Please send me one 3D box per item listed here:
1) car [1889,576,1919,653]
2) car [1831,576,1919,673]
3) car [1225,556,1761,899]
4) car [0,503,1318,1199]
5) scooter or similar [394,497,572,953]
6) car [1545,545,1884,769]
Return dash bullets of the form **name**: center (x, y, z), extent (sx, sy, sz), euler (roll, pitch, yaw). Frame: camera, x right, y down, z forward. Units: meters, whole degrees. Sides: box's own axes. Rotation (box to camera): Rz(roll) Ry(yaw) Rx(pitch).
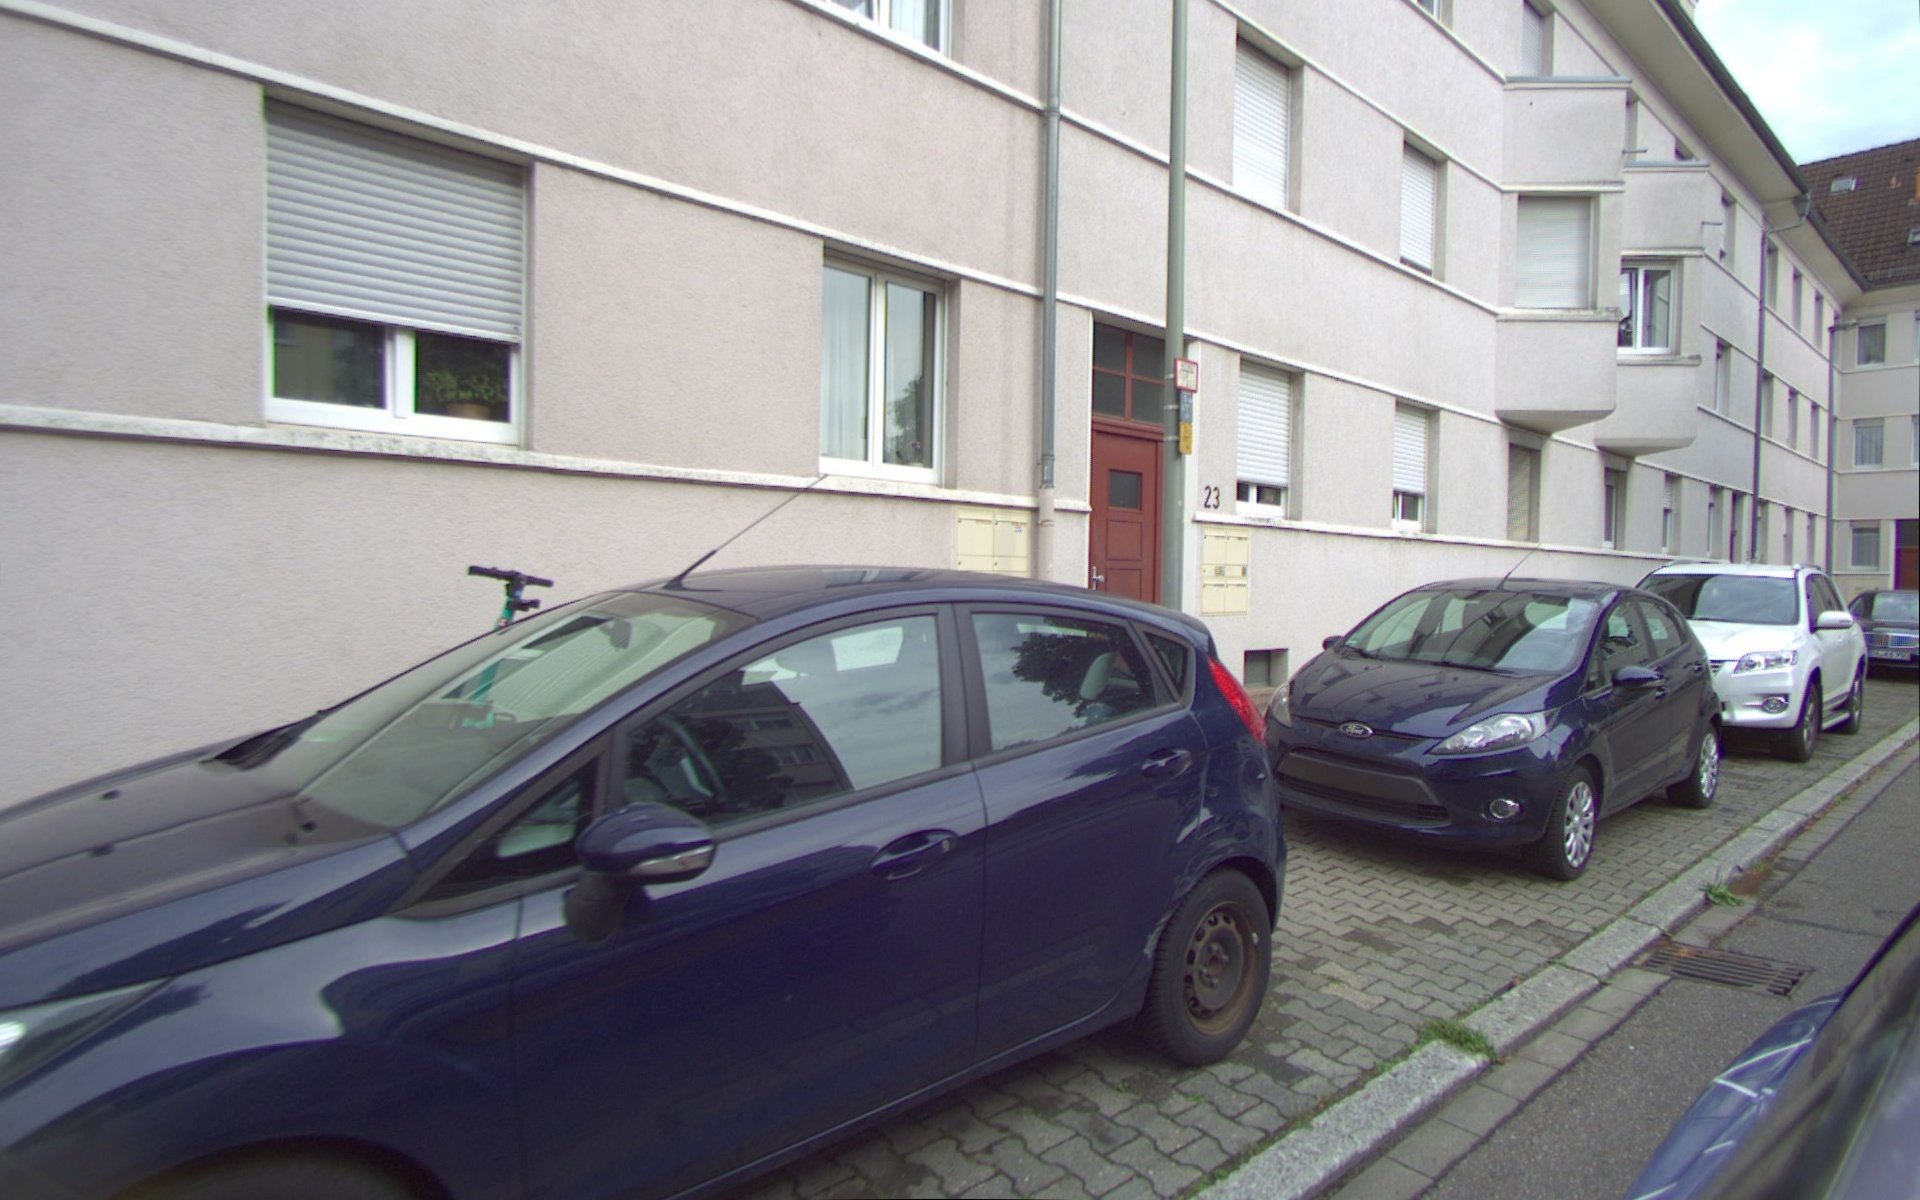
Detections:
- **car**: center (21.146, 0.311, 21.432), extent (4.009, 1.544, 1.760), euler (0, 2, -42)
- **car**: center (16.191, 0.369, 16.988), extent (4.865, 1.438, 1.748), euler (0, 2, -42)
- **car**: center (3.444, 0.519, 6.237), extent (3.802, 1.496, 1.571), euler (0, 2, -40)
- **car**: center (-0.741, 0.562, 2.790), extent (3.630, 1.491, 1.571), euler (0, 4, -40)
- **scooter or similar**: center (-2.219, 0.560, 4.736), extent (0.665, 2.039, 0.346), euler (-1, -1, -1)
- **car**: center (7.441, 0.388, 9.821), extent (4.216, 1.694, 1.845), euler (0, 3, -43)
